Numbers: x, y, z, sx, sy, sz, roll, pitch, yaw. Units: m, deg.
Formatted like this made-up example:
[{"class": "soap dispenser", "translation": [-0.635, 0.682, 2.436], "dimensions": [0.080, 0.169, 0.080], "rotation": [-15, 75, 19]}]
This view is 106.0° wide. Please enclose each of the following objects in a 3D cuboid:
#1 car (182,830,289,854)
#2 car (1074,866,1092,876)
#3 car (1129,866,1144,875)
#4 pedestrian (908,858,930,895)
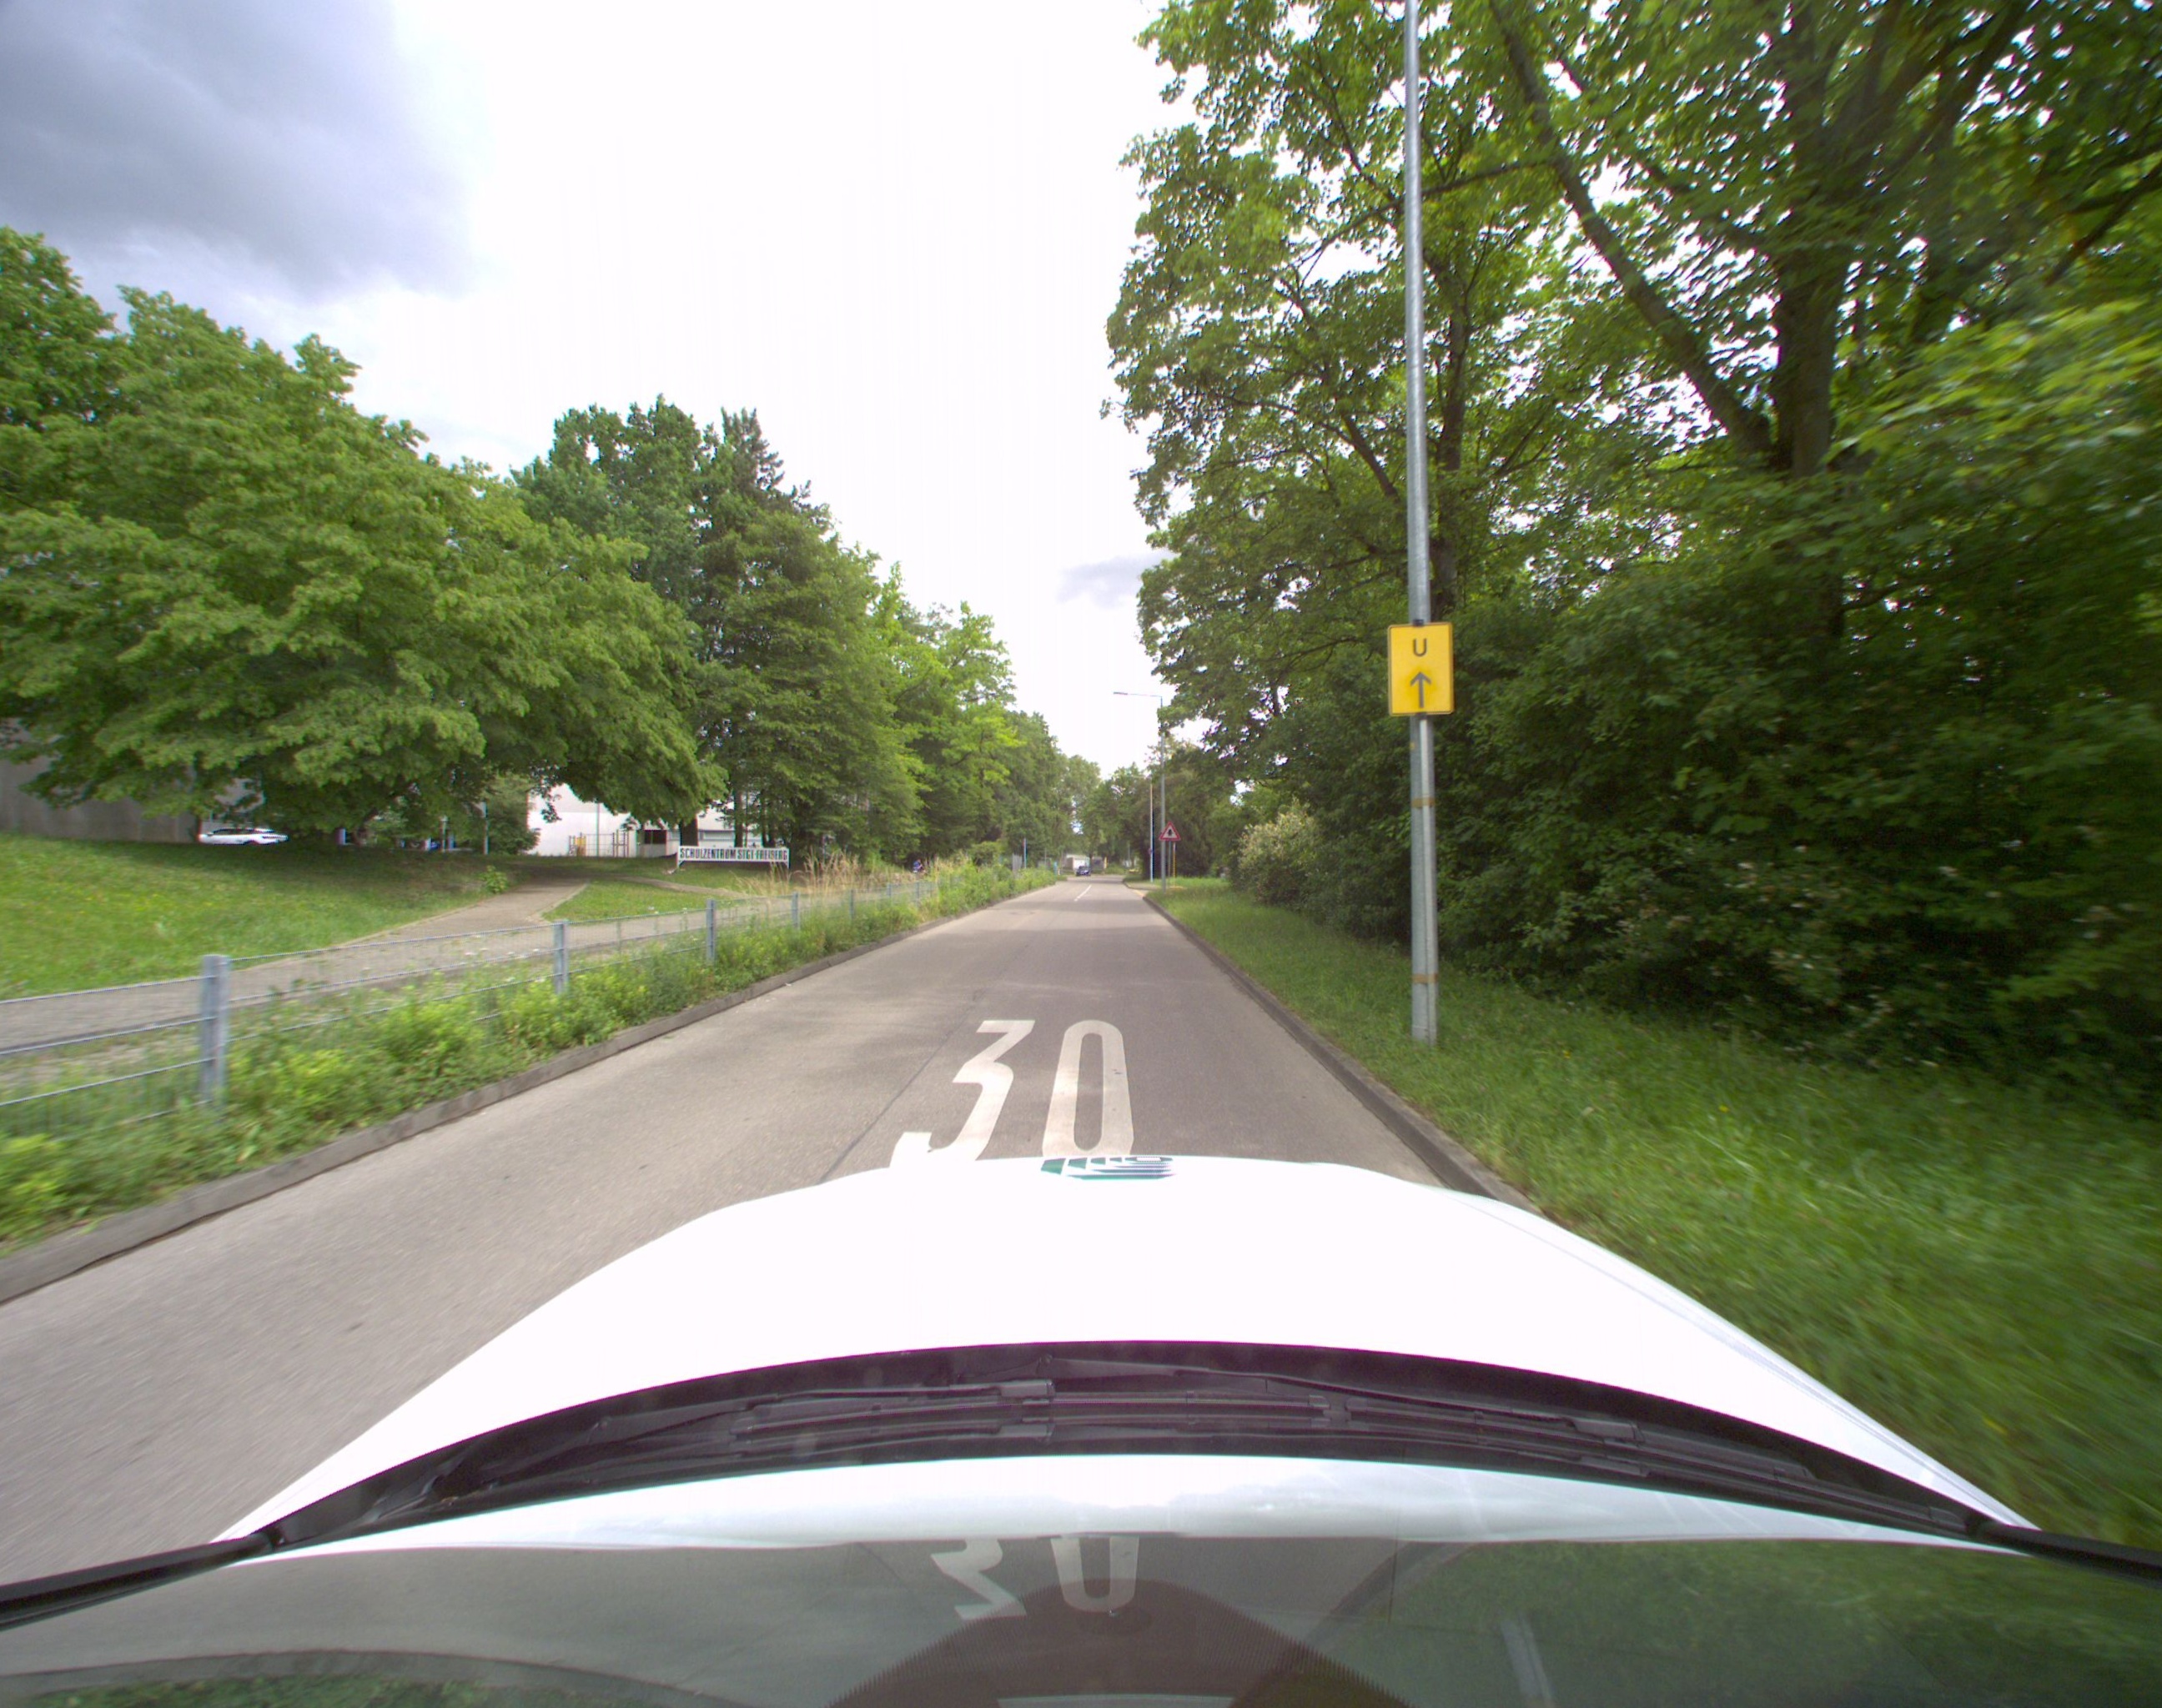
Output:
[{"class": "car", "translation": [-50.333, -0.725, 48.572], "dimensions": [4.089, 1.349, 1.689], "rotation": [-1, 0, -16]}, {"class": "car", "translation": [0.361, 2.403, 116.447], "dimensions": [1.967, 1.383, 4.010], "rotation": [0, 0, 9]}, {"class": "car", "translation": [10.460, 3.037, 153.399], "dimensions": [1.845, 1.492, 4.016], "rotation": [-3, -3, 16]}, {"class": "pedestrian", "translation": [-9.154, 1.280, 46.092], "dimensions": [0.872, 2.014, 0.867], "rotation": [1, -5, -43]}]
